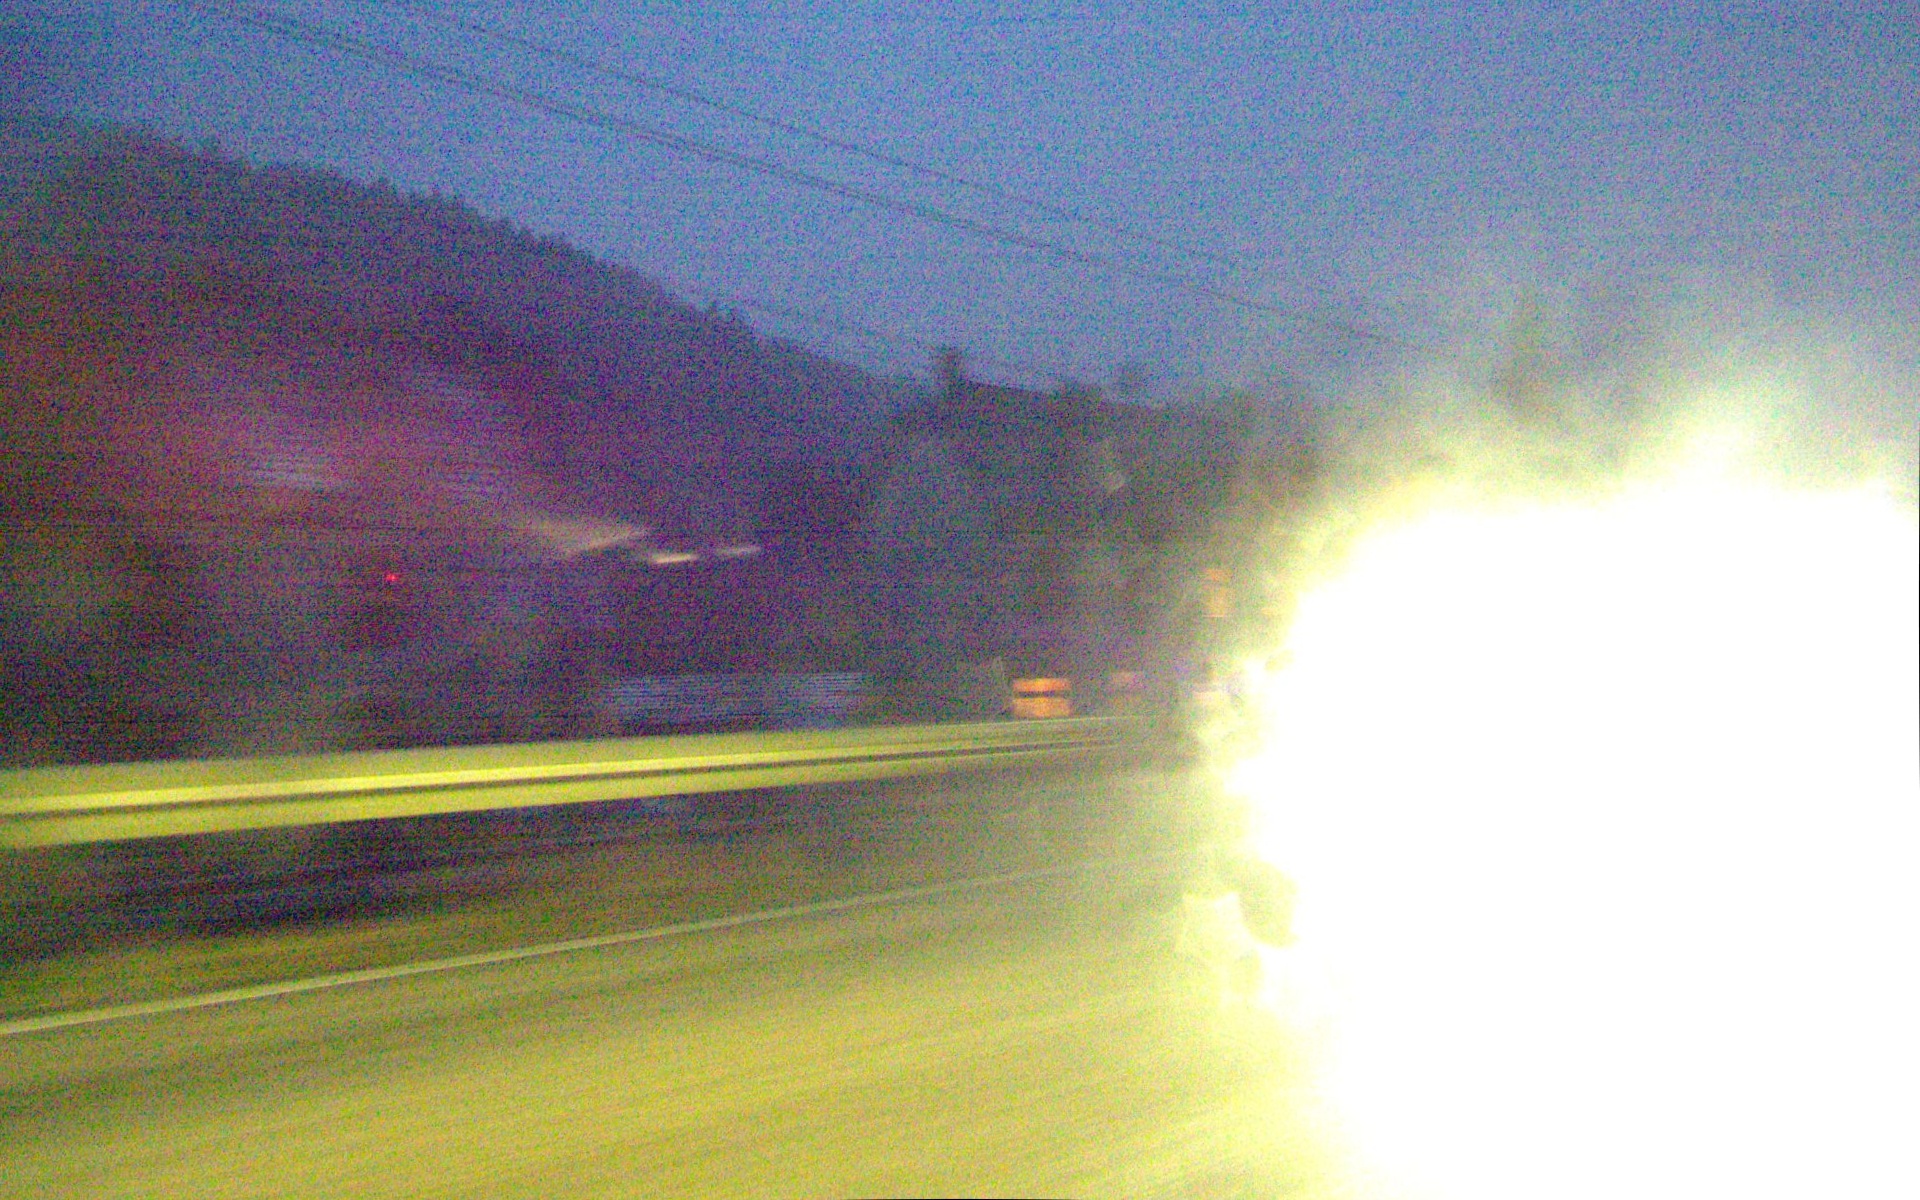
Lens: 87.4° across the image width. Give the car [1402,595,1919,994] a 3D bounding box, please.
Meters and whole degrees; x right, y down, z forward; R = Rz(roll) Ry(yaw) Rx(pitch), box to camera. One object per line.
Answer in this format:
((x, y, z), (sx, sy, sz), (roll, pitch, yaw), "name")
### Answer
((4.548, 0.825, 5.785), (3.736, 1.589, 1.820), (2, 0, -31), "car")
